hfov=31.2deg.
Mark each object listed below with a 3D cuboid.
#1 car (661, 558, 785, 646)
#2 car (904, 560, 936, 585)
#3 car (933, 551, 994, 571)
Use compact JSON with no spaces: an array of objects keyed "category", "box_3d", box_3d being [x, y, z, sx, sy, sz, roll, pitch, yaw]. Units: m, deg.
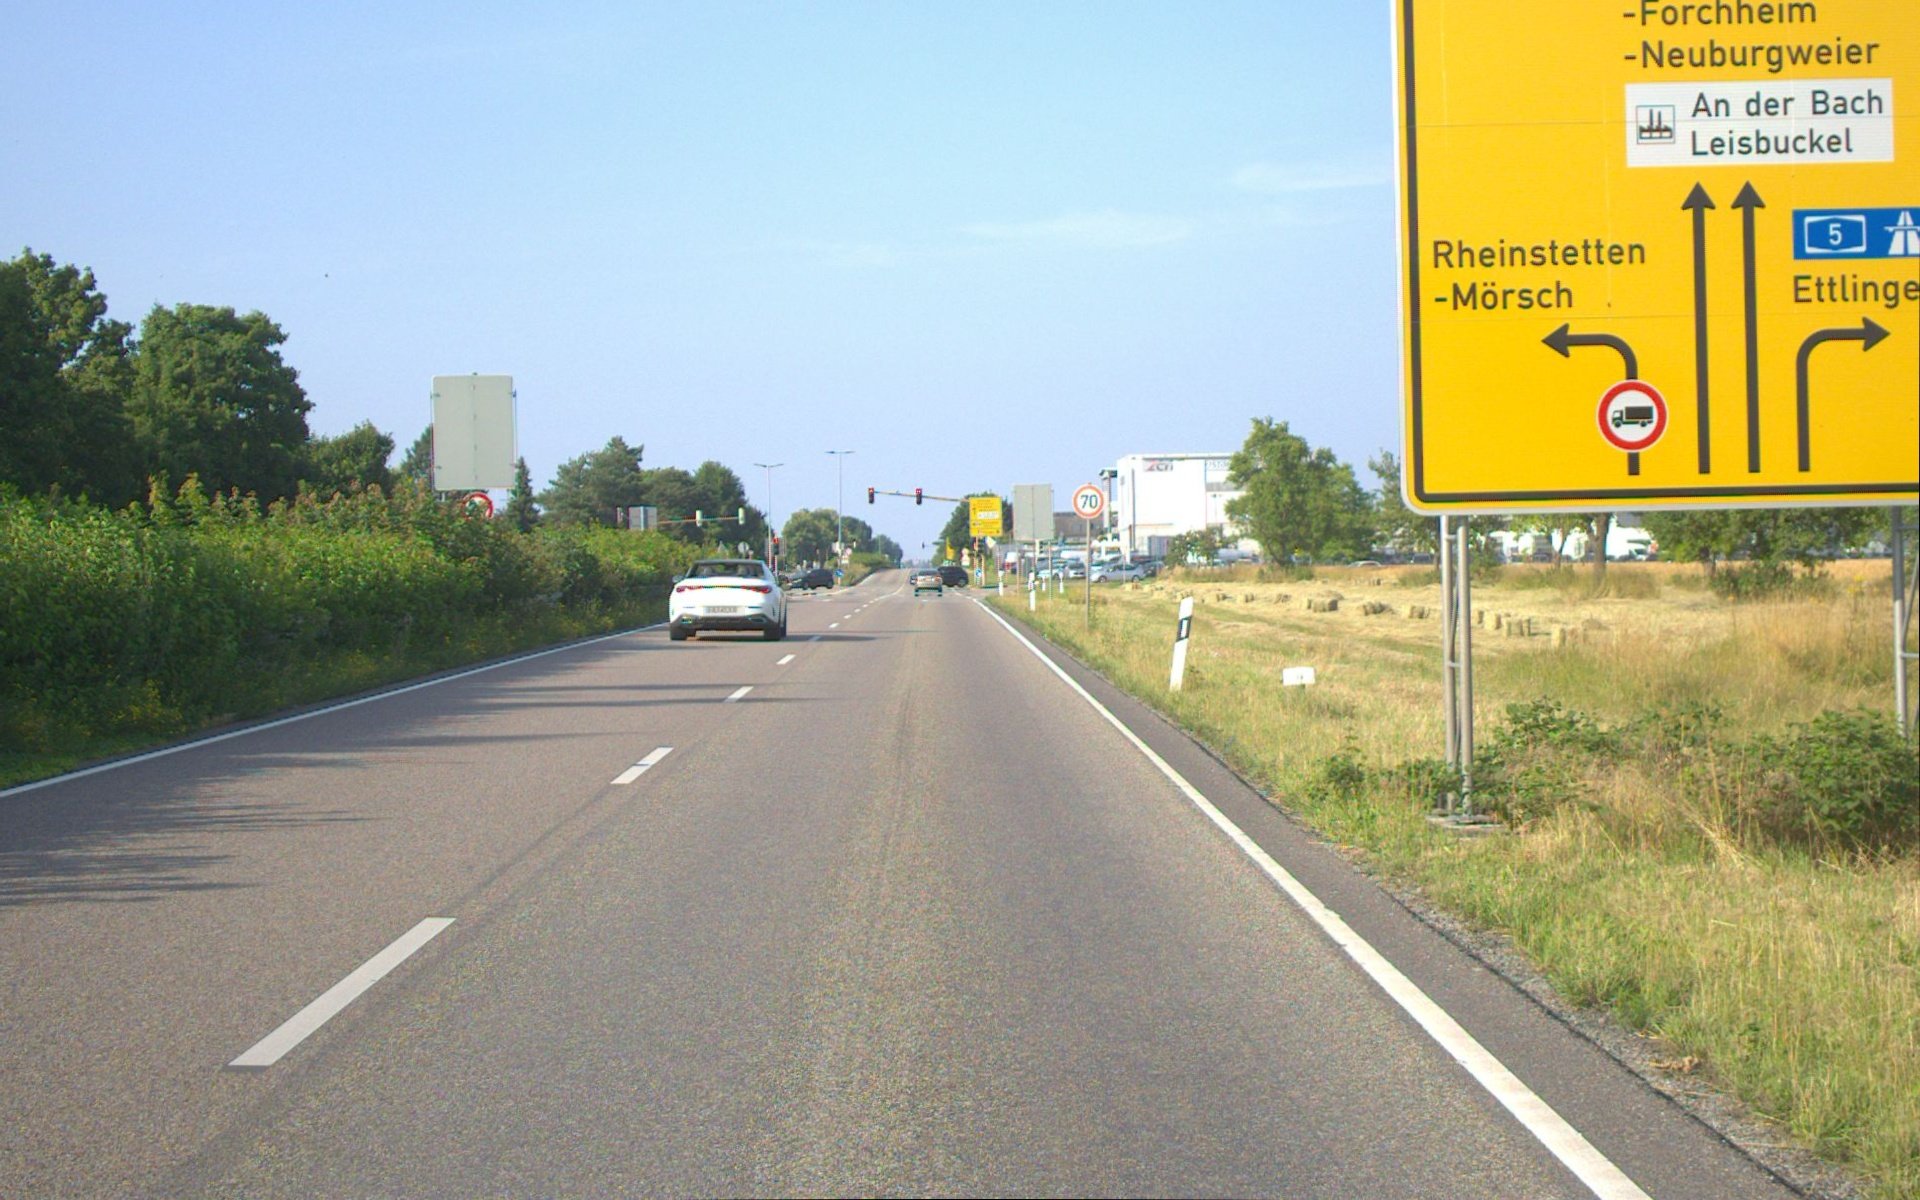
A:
[{"category":"car","box_3d":[-4.000,0.015,58.554,1.909,1.417,4.000,0,1,-1]},{"category":"car","box_3d":[-2.553,-1.740,217.049,1.993,1.481,4.000,0,1,-1]},{"category":"car","box_3d":[0.255,-2.821,250.268,3.986,1.403,1.954,0,1,-20]}]
